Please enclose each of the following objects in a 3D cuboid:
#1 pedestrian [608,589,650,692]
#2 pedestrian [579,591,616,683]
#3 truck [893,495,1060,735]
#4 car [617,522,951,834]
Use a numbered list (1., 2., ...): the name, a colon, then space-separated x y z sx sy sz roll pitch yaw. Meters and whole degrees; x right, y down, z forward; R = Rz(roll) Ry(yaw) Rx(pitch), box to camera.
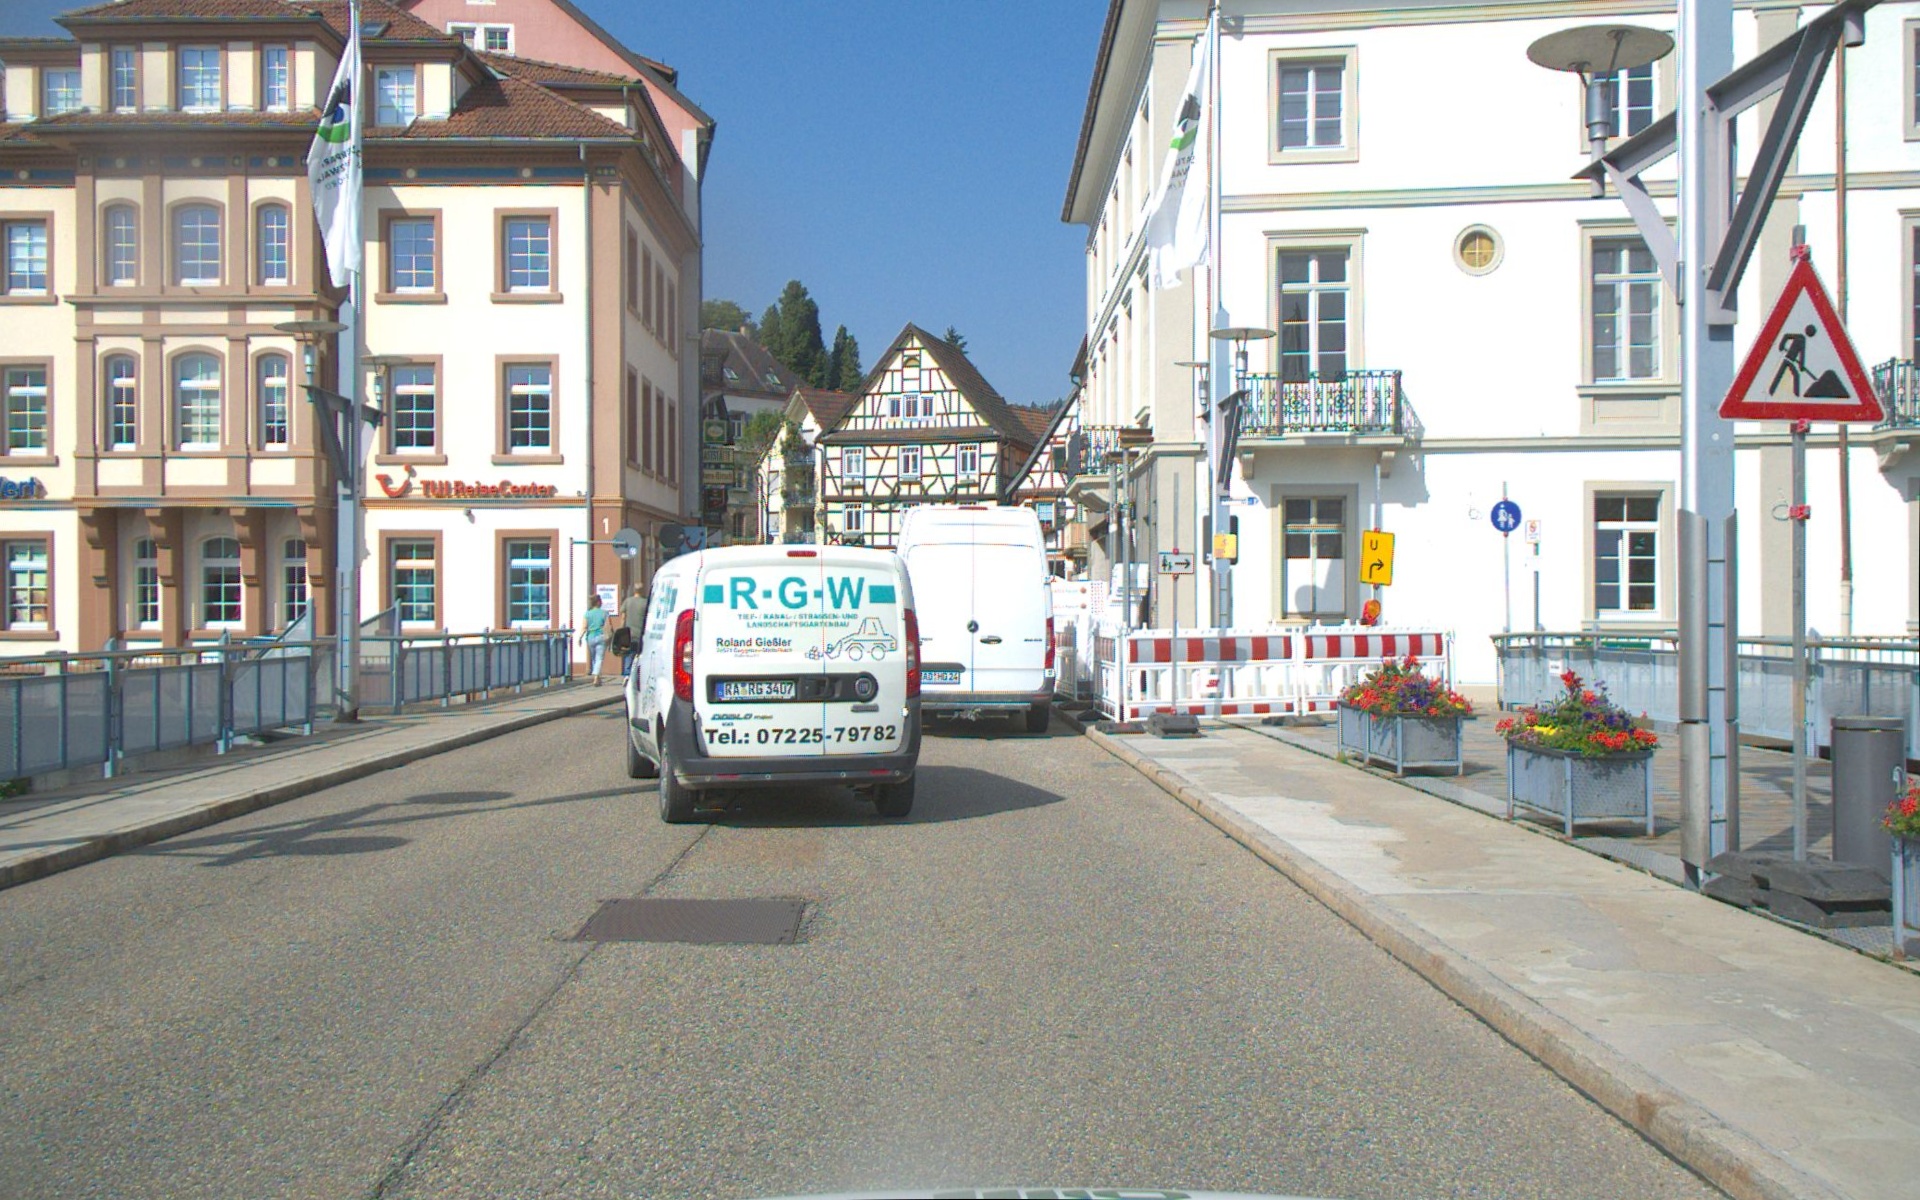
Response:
1. pedestrian: -5.902 0.708 29.545 0.602 1.793 0.863 1 0 -3
2. pedestrian: -6.527 0.663 29.770 0.572 1.638 0.537 1 0 -5
3. truck: 0.098 0.163 20.287 1.824 2.630 4.258 0 0 -3
4. car: -1.521 0.487 12.607 1.814 1.939 4.295 0 0 -16
